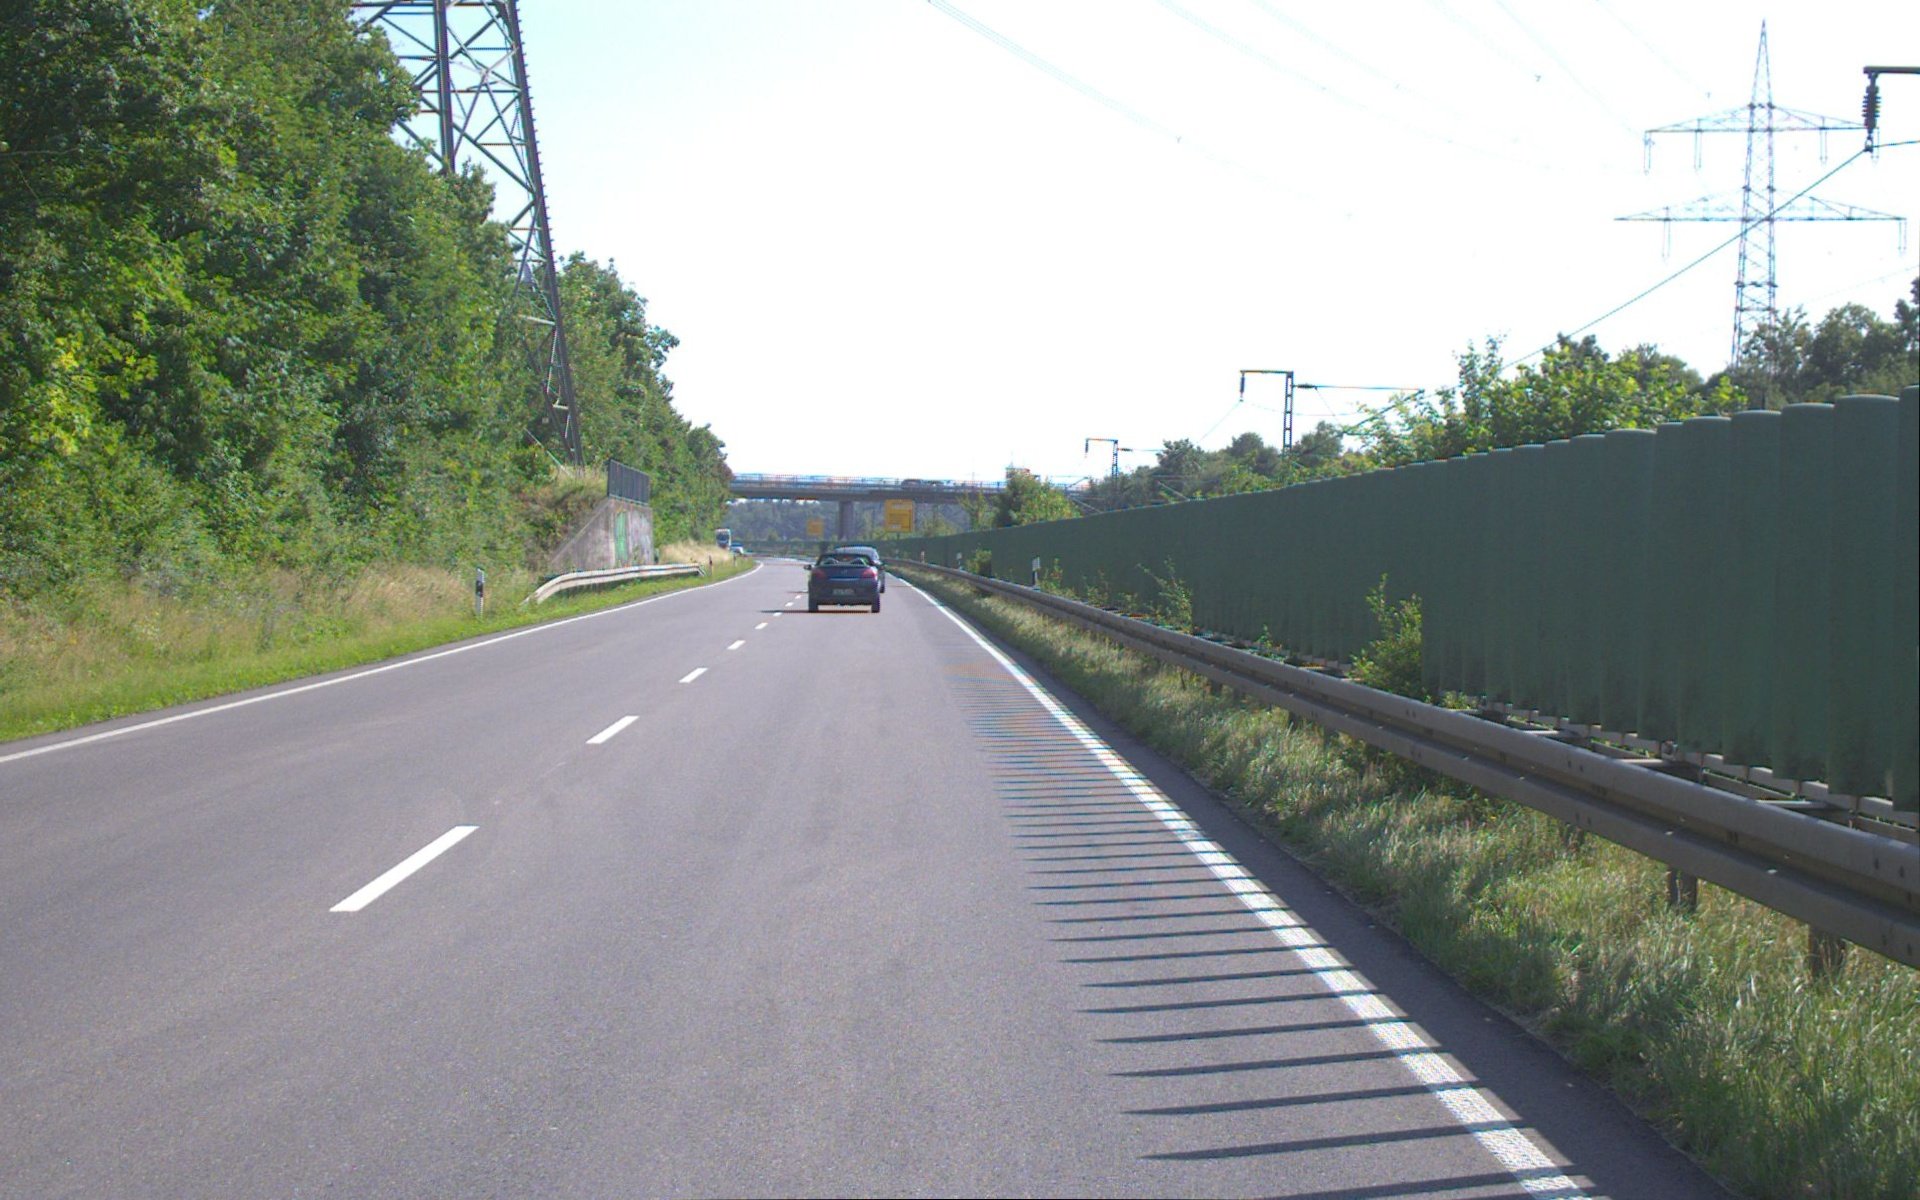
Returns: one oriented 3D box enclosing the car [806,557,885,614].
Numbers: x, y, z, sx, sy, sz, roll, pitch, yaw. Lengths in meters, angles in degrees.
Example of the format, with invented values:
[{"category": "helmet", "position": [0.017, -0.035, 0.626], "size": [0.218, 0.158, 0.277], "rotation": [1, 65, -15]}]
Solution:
[{"category": "car", "position": [-2.652, -0.347, 78.942], "size": [1.663, 1.257, 4.001], "rotation": [1, 0, -4]}]
